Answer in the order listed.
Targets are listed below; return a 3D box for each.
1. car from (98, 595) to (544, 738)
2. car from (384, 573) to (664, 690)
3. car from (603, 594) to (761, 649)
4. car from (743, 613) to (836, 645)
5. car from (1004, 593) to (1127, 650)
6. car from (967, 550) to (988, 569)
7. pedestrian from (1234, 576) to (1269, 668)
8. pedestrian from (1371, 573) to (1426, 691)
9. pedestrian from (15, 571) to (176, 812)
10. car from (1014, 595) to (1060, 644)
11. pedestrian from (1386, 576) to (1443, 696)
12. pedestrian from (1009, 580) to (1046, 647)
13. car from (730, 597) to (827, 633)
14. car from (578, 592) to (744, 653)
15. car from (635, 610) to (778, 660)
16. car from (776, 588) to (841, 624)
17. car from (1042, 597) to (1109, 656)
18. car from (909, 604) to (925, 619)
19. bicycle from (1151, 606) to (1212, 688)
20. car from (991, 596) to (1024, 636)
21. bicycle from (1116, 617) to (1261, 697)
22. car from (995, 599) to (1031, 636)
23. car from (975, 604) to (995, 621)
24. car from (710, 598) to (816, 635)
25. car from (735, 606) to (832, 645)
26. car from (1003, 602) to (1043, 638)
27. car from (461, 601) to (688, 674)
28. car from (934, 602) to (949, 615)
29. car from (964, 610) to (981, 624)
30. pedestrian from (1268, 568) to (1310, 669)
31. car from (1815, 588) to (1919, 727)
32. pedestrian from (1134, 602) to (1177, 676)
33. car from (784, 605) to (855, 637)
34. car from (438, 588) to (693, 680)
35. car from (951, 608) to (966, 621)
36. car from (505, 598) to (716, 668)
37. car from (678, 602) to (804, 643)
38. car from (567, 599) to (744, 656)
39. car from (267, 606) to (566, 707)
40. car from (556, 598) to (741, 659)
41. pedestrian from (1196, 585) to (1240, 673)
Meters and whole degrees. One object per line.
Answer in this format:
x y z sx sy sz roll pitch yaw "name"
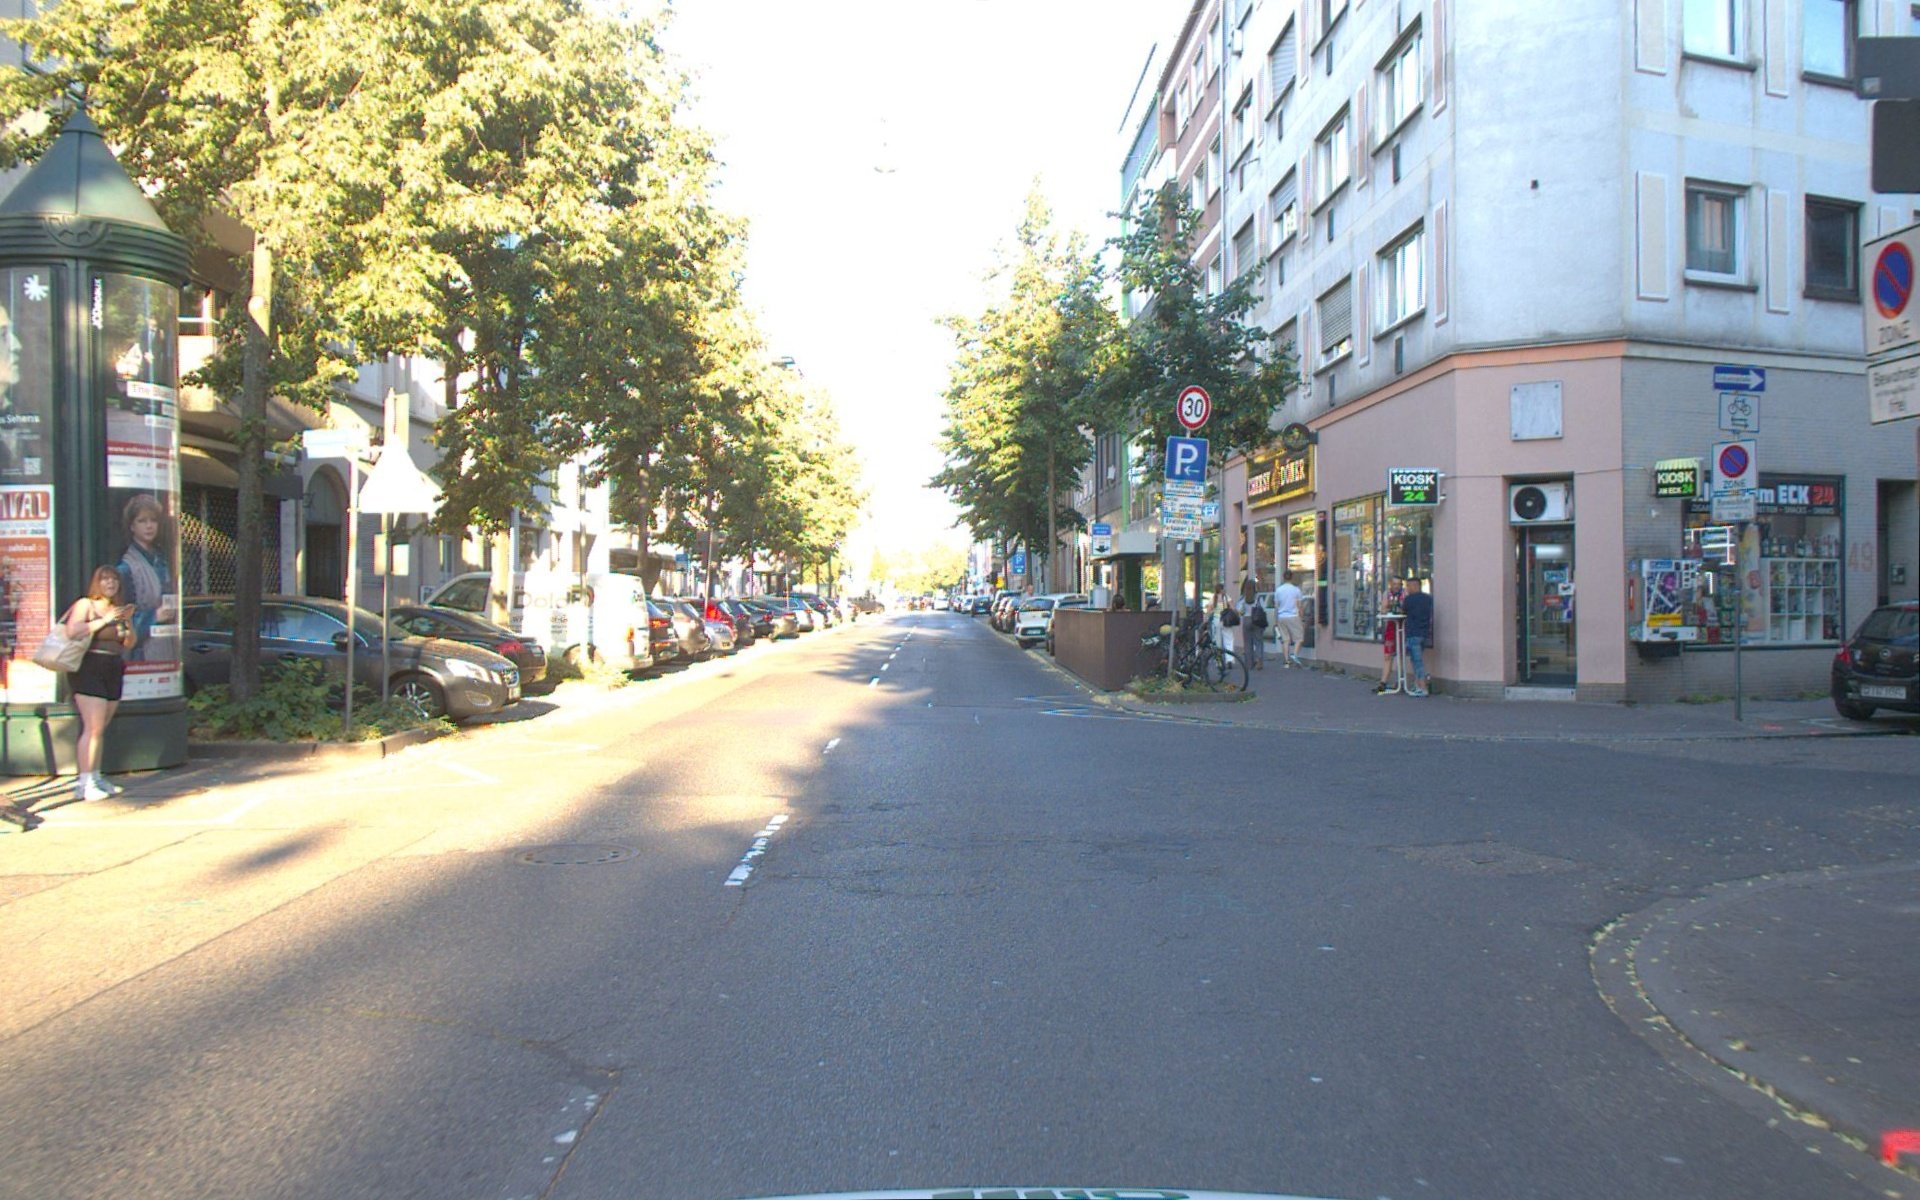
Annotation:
-7.278 0.747 19.199 4.455 1.568 1.810 0 -1 -2 "car"
-7.702 0.554 29.561 4.479 1.996 1.990 0 -1 -1 "car"
-8.223 0.639 49.179 4.351 1.595 1.919 0 -1 -1 "car"
-8.316 1.411 80.898 4.351 1.525 1.919 0 -1 -1 "car"
3.117 0.606 48.358 1.645 1.616 3.801 0 0 41 "car"
1.206 -2.851 116.565 1.482 1.222 3.303 0 -1 0 "car"
5.500 0.414 31.206 0.617 1.709 0.892 0 0 9 "pedestrian"
6.239 0.444 23.558 0.555 1.627 0.663 -2 1 -1 "pedestrian"
-6.366 0.654 12.214 0.695 1.716 0.834 0 0 8 "pedestrian"
2.621 0.665 56.823 1.482 1.605 3.218 0 -1 0 "car"
6.262 0.489 22.794 0.555 1.611 0.663 -2 1 -1 "pedestrian"
2.017 0.399 49.408 0.900 1.960 1.015 1 -1 -11 "pedestrian"
-8.296 0.684 75.686 4.216 1.626 1.919 0 -1 -1 "car"
-8.447 0.633 46.944 4.351 1.667 1.859 0 -1 -1 "car"
-8.231 1.120 53.886 4.351 1.595 1.919 0 -1 -1 "car"
-10.541 0.432 115.198 4.351 2.477 1.919 0 -1 -1 "car"
2.963 0.666 42.994 1.511 1.458 3.678 0 0 1 "car"
-4.925 1.309 188.023 1.716 1.567 3.303 -1 -1 0 "car"
3.370 0.688 25.037 0.585 1.198 1.847 -1 0 18 "bicycle"
2.278 0.787 80.138 1.482 1.897 4.235 0 -1 0 "car"
3.250 0.789 23.574 1.918 1.092 0.704 -1 0 31 "bicycle"
2.359 0.778 73.824 1.482 1.589 3.513 0 -1 0 "car"
1.934 0.976 127.823 1.482 1.298 3.303 0 -1 0 "car"
-8.472 0.719 71.418 4.351 1.549 1.919 0 -1 -1 "car"
-8.251 1.185 77.782 4.351 1.790 1.919 0 -1 -1 "car"
2.579 0.832 68.283 1.482 1.430 3.836 0 -1 0 "car"
-8.058 0.774 34.871 4.351 1.493 1.779 0 -1 -1 "car"
-2.140 0.996 191.576 1.685 1.501 3.303 -1 -1 0 "car"
1.113 1.496 146.011 1.482 1.285 3.303 0 -1 0 "car"
6.094 0.336 30.647 0.683 1.836 0.892 0 0 7 "pedestrian"
12.192 0.640 19.684 3.617 1.514 1.775 0 2 -25 "car"
3.729 0.740 31.658 0.711 1.402 0.781 0 0 -1 "pedestrian"
-8.905 1.304 104.997 4.351 1.994 1.919 0 -1 -1 "car"
-7.623 0.645 32.330 4.478 1.727 2.060 0 -1 0 "car"
-0.111 1.463 168.736 1.482 1.321 3.303 0 -1 0 "car"
-7.825 0.731 37.322 4.351 1.533 1.844 0 -1 -1 "car"
-7.973 0.824 60.417 4.351 1.474 1.919 0 -1 -1 "car"
-8.086 0.730 44.193 4.351 1.484 1.859 0 -1 -1 "car"
-7.986 0.828 24.563 3.712 1.416 2.044 0 -1 2 "car"
-7.838 0.721 41.892 4.351 1.510 1.809 0 -1 -1 "car"
4.956 0.549 31.727 0.779 1.654 0.913 0 0 11 "pedestrian"
